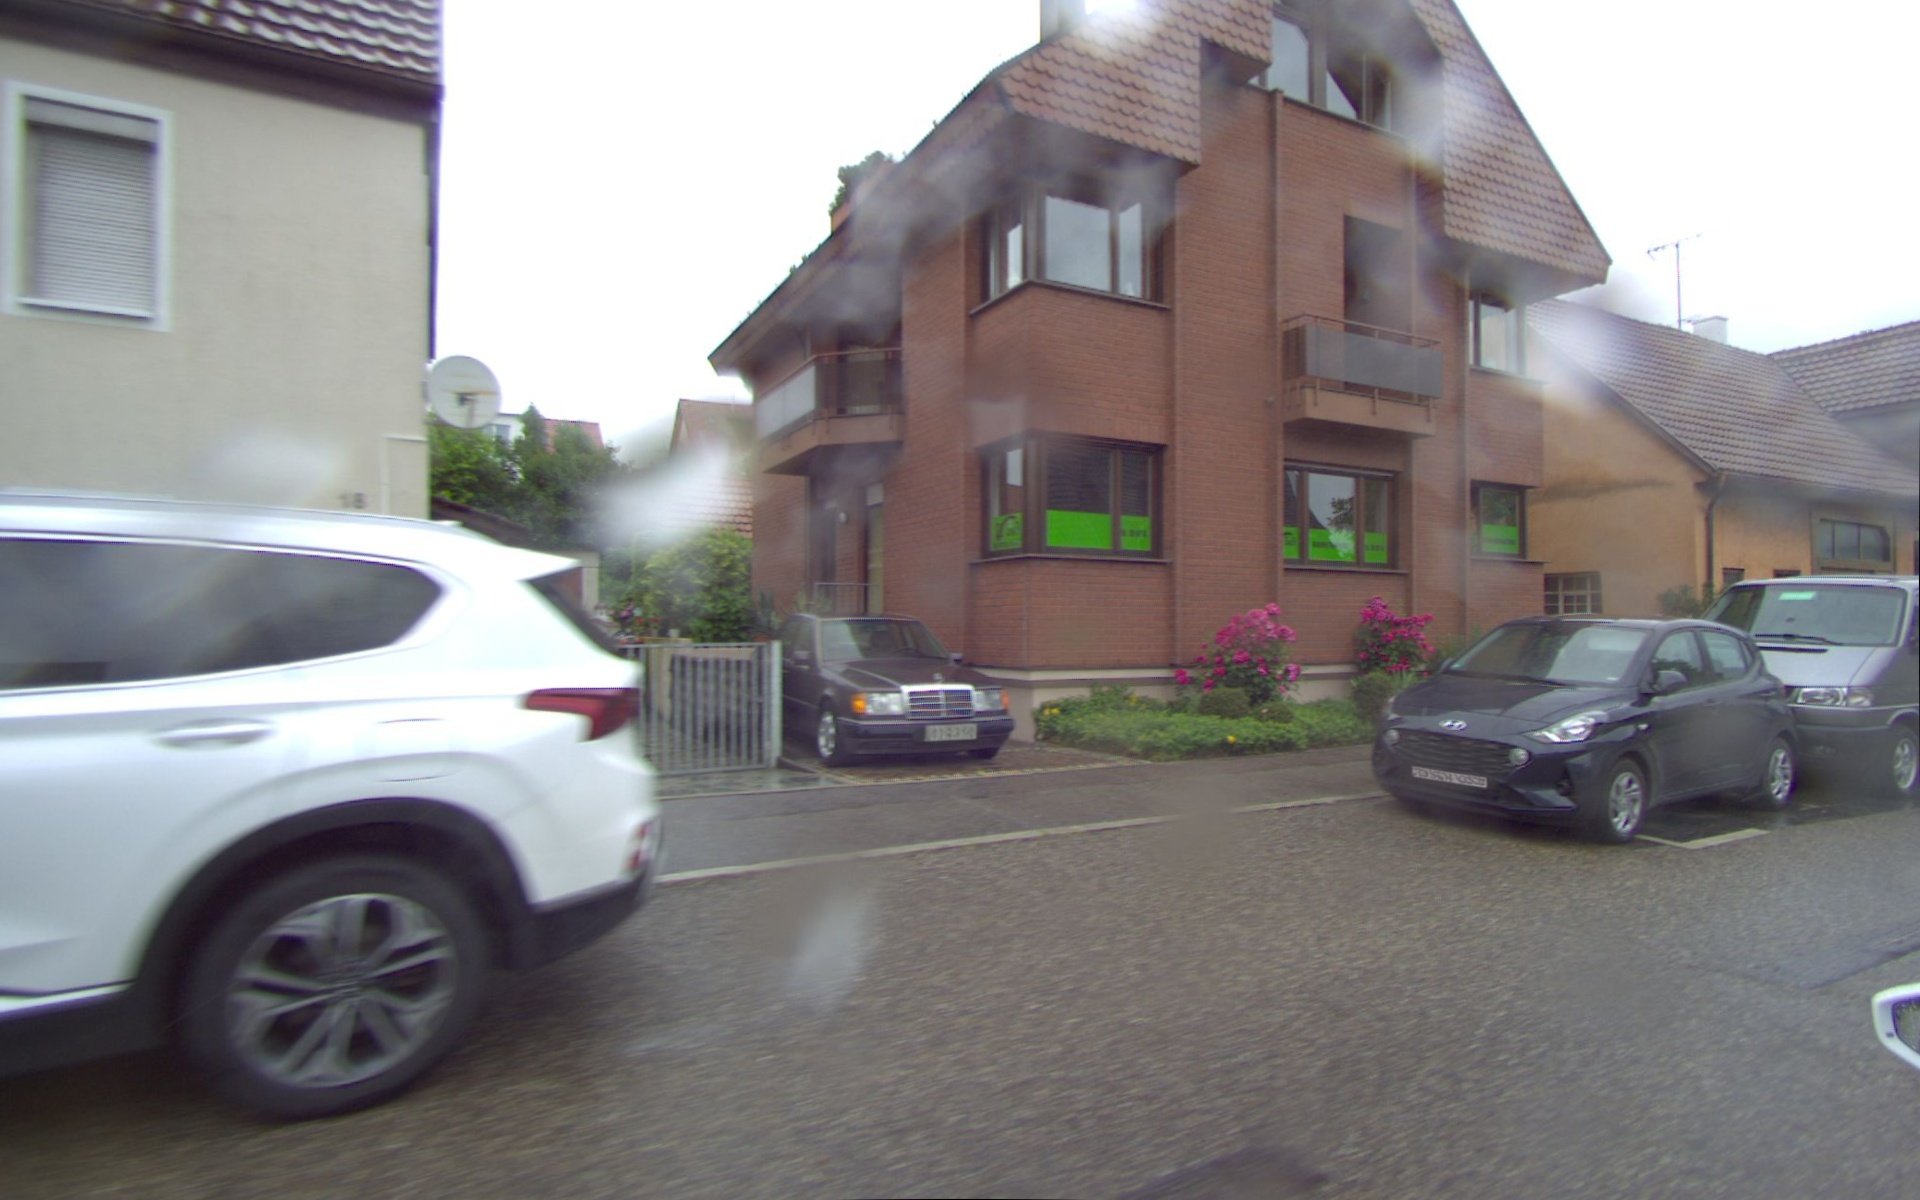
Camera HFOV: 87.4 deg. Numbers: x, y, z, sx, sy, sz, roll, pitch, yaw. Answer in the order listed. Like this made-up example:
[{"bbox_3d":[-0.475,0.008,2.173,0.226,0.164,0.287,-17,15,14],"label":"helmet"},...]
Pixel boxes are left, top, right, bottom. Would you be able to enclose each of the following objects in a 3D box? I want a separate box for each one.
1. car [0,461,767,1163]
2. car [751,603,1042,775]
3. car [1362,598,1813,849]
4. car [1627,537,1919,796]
[{"bbox_3d":[-3.054,0.501,2.875,4.606,1.640,1.754,2,-2,-33],"label":"car"},{"bbox_3d":[-0.889,0.817,10.581,1.764,1.421,4.162,1,-2,-23],"label":"car"},{"bbox_3d":[4.868,0.805,7.700,3.528,1.516,1.570,2,-2,-32],"label":"car"},{"bbox_3d":[9.018,0.606,9.964,5.150,2.040,1.814,2,-2,-28],"label":"car"}]
